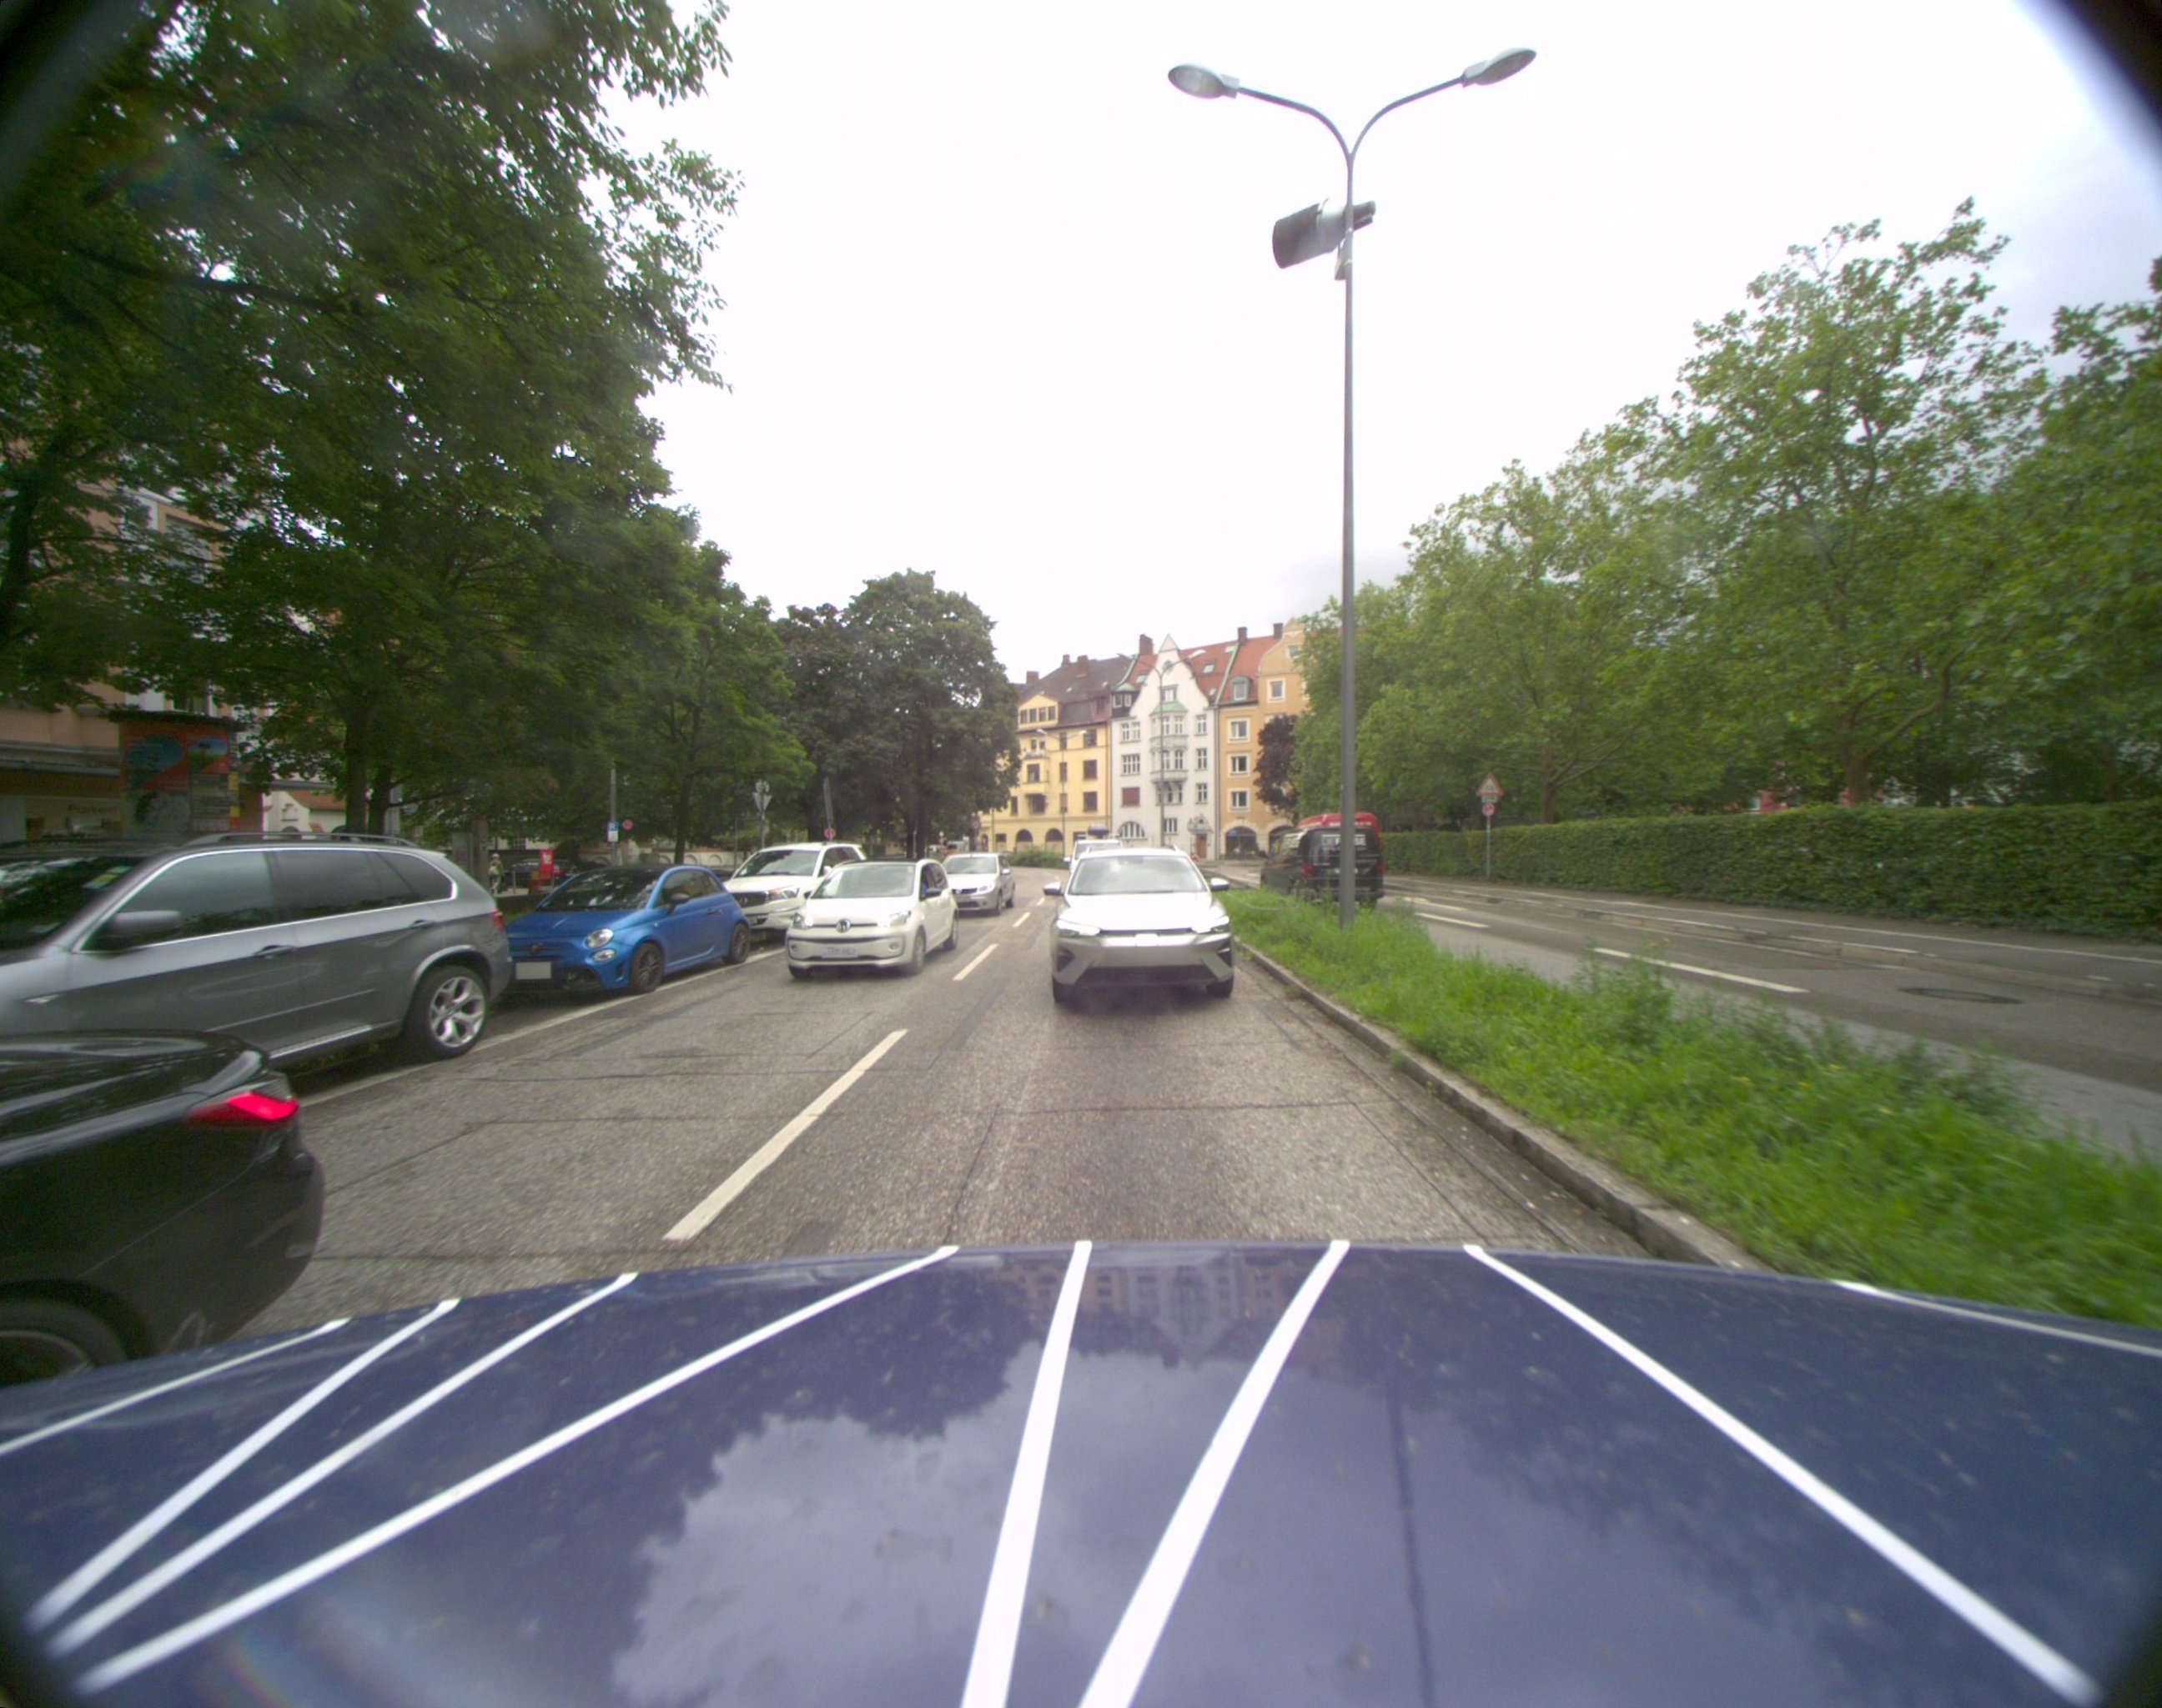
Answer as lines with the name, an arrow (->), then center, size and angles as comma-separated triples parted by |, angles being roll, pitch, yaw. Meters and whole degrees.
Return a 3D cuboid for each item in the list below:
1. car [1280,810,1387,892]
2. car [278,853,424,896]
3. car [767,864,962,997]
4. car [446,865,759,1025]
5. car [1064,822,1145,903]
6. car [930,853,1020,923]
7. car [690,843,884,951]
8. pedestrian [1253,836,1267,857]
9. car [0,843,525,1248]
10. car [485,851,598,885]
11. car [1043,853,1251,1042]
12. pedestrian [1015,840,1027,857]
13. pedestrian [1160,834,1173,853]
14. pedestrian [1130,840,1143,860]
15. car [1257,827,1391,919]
car -> 8.733, -0.067, 26.910 | 2.108, 2.574, 6.083 | 0, 0, 4
car -> -28.775, 0.792, 30.009 | 4.436, 1.458, 1.862 | -2, 2, 11
car -> -2.808, 0.918, 10.663 | 1.648, 1.457, 3.619 | 0, 1, 1
car -> -5.648, 0.953, 9.566 | 1.523, 1.540, 3.662 | 0, 1, 2
car -> 0.880, 0.230, 24.517 | 1.911, 2.337, 4.948 | 0, 1, 10
car -> -2.542, 0.756, 19.017 | 1.648, 1.521, 3.886 | 0, 1, 1
car -> -5.690, 0.708, 15.510 | 1.848, 1.845, 5.024 | 0, 1, 2
pedestrian -> 17.563, -0.701, 74.587 | 1.005, 2.002, 0.880 | -1, 2, 33
car -> -5.855, 0.851, 4.464 | 1.937, 1.809, 4.552 | 0, 1, -3
car -> -26.175, 0.655, 36.916 | 4.436, 1.458, 1.862 | -2, 2, 11
car -> 0.574, 0.775, 8.227 | 1.710, 1.521, 3.886 | 0, 1, 1
pedestrian -> -7.153, -0.624, 90.445 | 1.005, 2.002, 0.880 | -1, 2, 33
pedestrian -> 8.950, -1.078, 79.225 | 1.005, 2.002, 0.880 | -1, 2, 33
pedestrian -> 5.852, -0.441, 80.719 | 1.005, 2.002, 0.880 | -1, 2, 33
car -> 5.790, 0.386, 18.760 | 1.862, 1.979, 4.704 | 0, 1, 1
